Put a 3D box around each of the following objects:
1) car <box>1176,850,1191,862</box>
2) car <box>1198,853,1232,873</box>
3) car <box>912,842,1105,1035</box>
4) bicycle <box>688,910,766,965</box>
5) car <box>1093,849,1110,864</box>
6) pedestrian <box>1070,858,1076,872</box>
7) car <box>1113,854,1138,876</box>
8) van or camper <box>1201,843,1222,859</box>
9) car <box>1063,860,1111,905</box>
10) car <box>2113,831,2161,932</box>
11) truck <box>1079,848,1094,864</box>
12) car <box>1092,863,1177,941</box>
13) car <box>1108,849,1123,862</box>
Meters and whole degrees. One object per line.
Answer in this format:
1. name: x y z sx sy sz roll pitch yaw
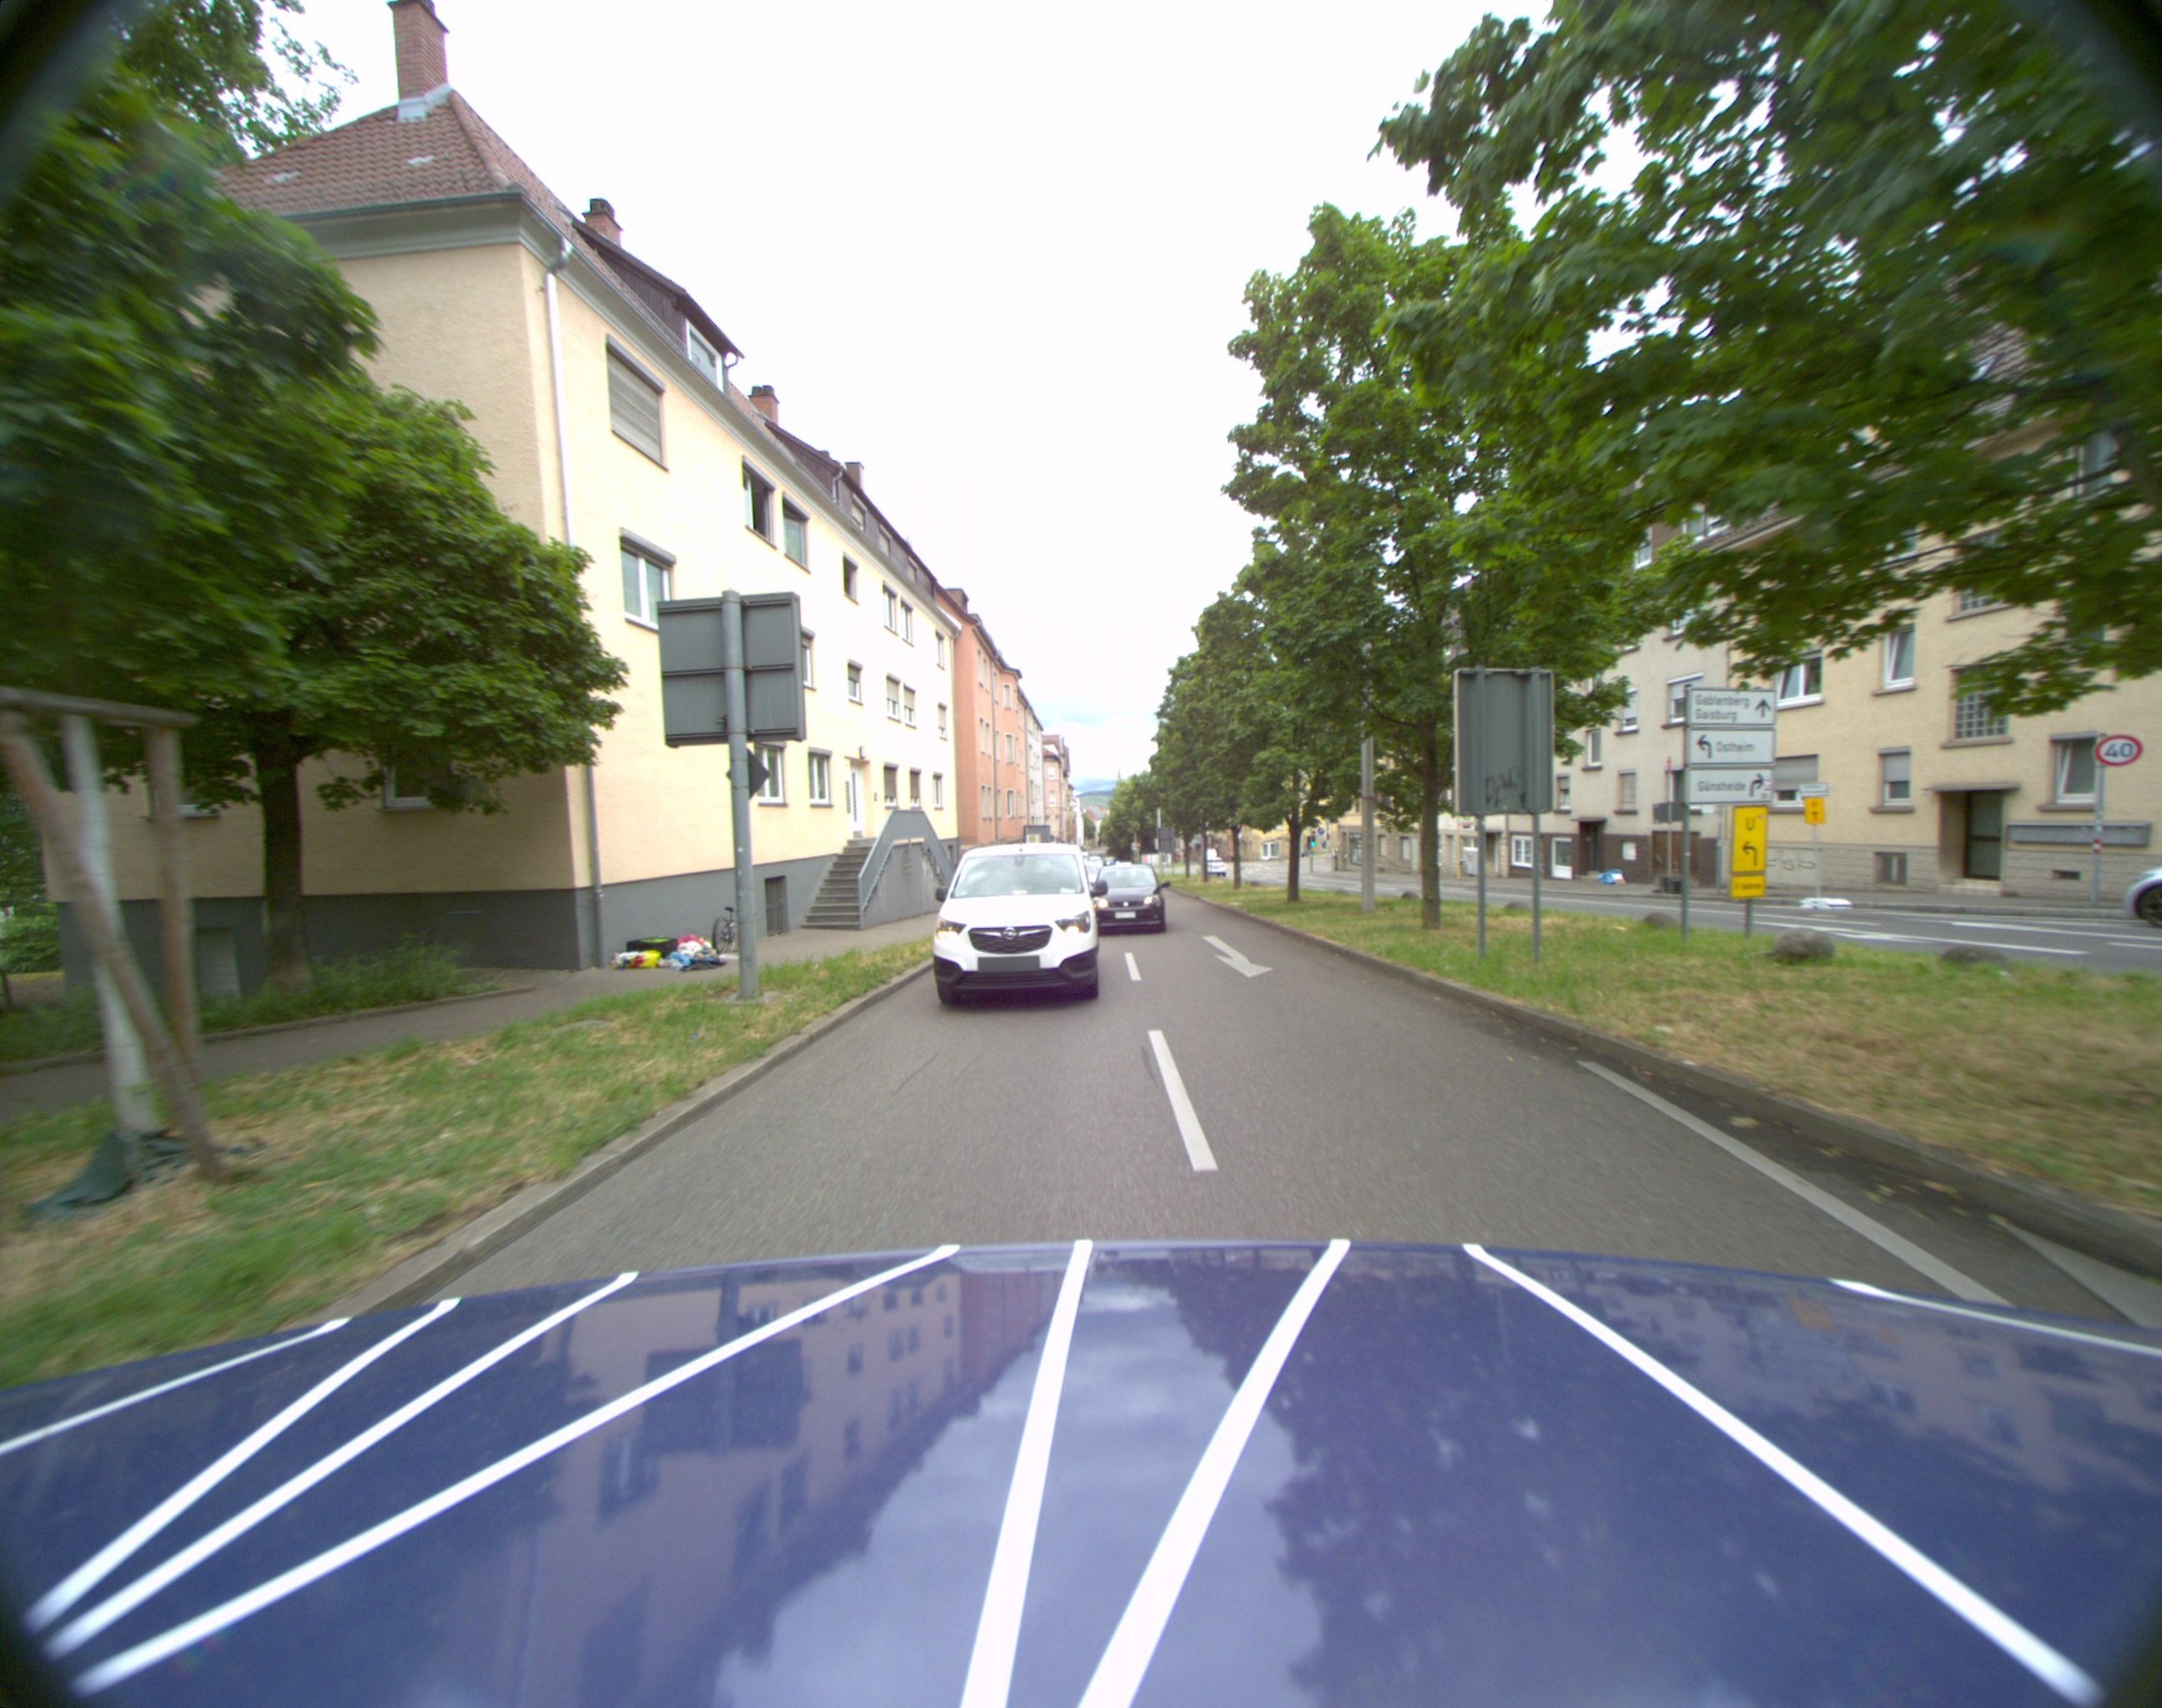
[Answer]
1. car: 16.738 0.358 123.890 1.884 1.804 4.353 -3 -2 2
2. car: 10.206 0.673 58.164 1.750 1.458 4.586 -2 0 1
3. car: -0.683 0.864 9.844 1.788 1.778 4.845 -3 -1 1
4. bicycle: -6.062 1.414 13.097 0.489 0.768 1.558 -1 0 4
5. car: 2.368 0.288 86.772 1.784 1.583 3.532 0 2 -1
6. pedestrian: -0.965 1.387 93.641 0.734 1.638 1.004 -3 1 -1
7. car: 3.477 0.866 59.971 1.784 1.583 3.532 0 2 -1
8. van or camper: 15.777 -0.380 92.092 1.912 1.751 4.655 -2 0 2
9. car: 0.265 1.140 31.789 1.780 1.598 4.164 -5 0 1
10. car: 17.572 0.409 10.130 1.998 1.543 4.158 -2 0 1
11. truck: 1.203 0.354 149.306 2.552 2.891 7.778 -1 0 3
12. car: 1.109 0.979 17.114 1.604 1.448 3.684 -4 0 1
13. car: 4.447 0.217 99.025 1.784 1.583 3.532 0 2 -1
